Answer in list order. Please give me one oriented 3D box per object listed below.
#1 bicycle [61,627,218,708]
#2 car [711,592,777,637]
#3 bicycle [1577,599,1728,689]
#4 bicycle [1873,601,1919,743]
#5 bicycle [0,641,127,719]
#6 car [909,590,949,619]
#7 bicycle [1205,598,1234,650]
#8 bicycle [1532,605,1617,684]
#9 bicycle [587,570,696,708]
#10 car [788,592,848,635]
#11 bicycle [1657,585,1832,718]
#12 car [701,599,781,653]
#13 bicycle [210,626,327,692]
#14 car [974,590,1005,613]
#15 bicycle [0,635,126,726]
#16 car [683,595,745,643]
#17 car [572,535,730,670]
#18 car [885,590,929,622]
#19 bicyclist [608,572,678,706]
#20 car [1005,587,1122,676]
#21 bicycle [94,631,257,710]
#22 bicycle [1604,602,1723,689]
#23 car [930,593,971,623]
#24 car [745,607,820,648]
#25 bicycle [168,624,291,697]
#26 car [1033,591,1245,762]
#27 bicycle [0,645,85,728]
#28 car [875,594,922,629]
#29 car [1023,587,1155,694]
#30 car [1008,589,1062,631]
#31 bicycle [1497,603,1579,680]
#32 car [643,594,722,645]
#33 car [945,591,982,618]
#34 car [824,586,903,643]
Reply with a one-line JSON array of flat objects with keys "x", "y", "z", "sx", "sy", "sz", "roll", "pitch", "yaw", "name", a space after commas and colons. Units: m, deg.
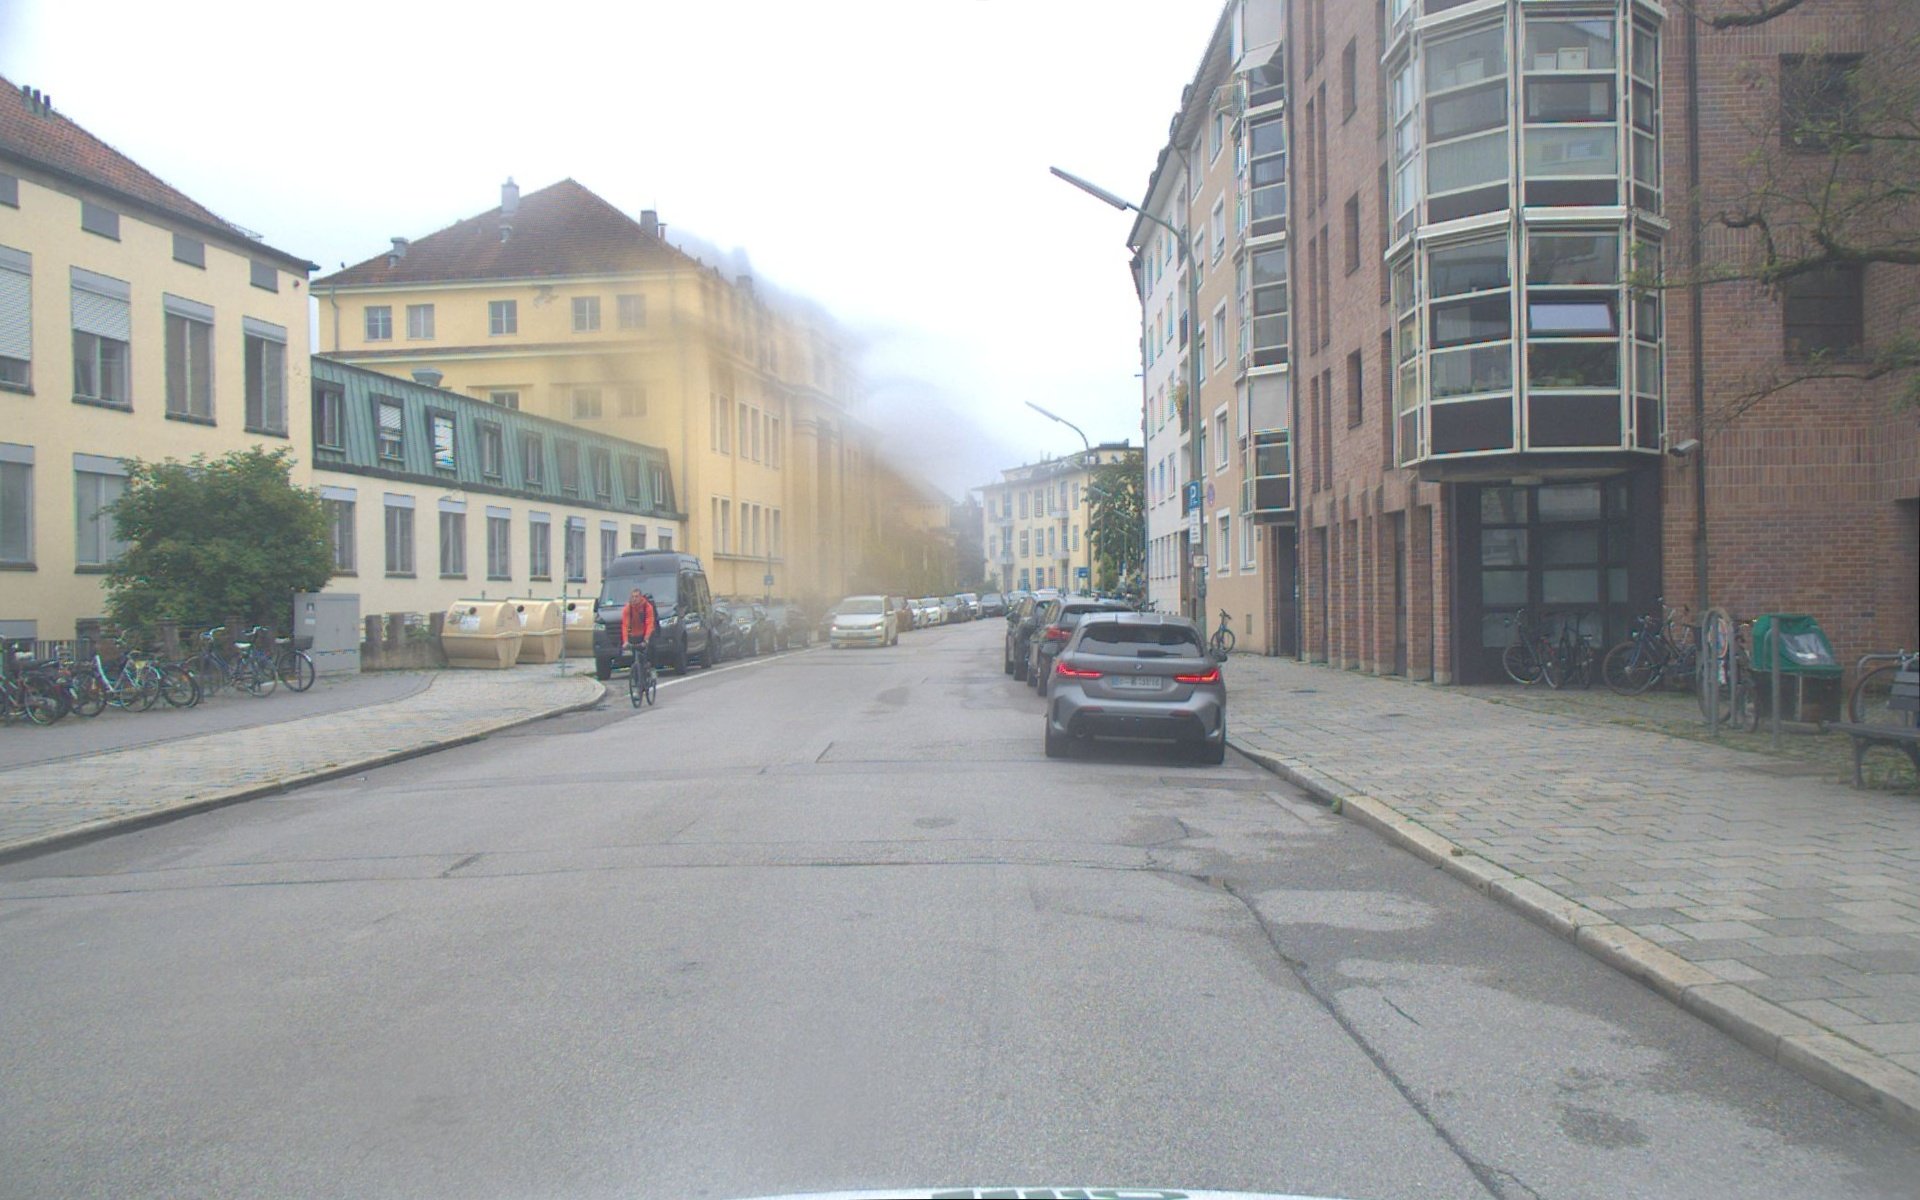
[{"x": -12.504, "y": 1.015, "z": 25.213, "sx": 2.261, "sy": 1.155, "sz": 0.582, "roll": 1, "pitch": 1, "yaw": 12, "name": "bicycle"}, {"x": -8.604, "y": 0.569, "z": 66.092, "sx": 1.683, "sy": 1.689, "sz": 3.751, "roll": 1, "pitch": 1, "yaw": 8, "name": "car"}, {"x": 9.324, "y": 0.583, "z": 22.308, "sx": 1.809, "sy": 1.167, "sz": 0.488, "roll": 1, "pitch": 0, "yaw": 8, "name": "bicycle"}, {"x": 8.484, "y": 0.606, "z": 14.539, "sx": 1.351, "sy": 1.194, "sz": 0.414, "roll": 0, "pitch": 1, "yaw": -44, "name": "bicycle"}, {"x": -12.968, "y": 1.141, "z": 23.794, "sx": 1.827, "sy": 1.047, "sz": 0.540, "roll": 1, "pitch": 1, "yaw": 12, "name": "bicycle"}, {"x": -1.613, "y": 0.240, "z": 87.413, "sx": 1.661, "sy": 1.469, "sz": 3.511, "roll": 1, "pitch": 1, "yaw": 6, "name": "car"}, {"x": 6.800, "y": 0.610, "z": 43.465, "sx": 0.458, "sy": 1.310, "sz": 2.676, "roll": 1, "pitch": 1, "yaw": 3, "name": "bicycle"}, {"x": 8.908, "y": 0.622, "z": 24.047, "sx": 0.476, "sy": 1.078, "sz": 1.995, "roll": 1, "pitch": 0, "yaw": 0, "name": "bicycle"}, {"x": -5.053, "y": 0.576, "z": 26.494, "sx": 0.732, "sy": 2.048, "sz": 2.850, "roll": -3, "pitch": 0, "yaw": 8, "name": "bicycle"}, {"x": -5.499, "y": 0.519, "z": 64.499, "sx": 1.735, "sy": 1.577, "sz": 3.780, "roll": 1, "pitch": 1, "yaw": 5, "name": "car"}, {"x": 7.990, "y": 0.517, "z": 16.970, "sx": 0.523, "sy": 1.270, "sz": 2.411, "roll": 1, "pitch": -1, "yaw": -3, "name": "bicycle"}, {"x": -6.523, "y": 0.755, "z": 49.577, "sx": 1.663, "sy": 1.478, "sz": 3.743, "roll": 1, "pitch": 1, "yaw": 4, "name": "car"}, {"x": -12.335, "y": 1.046, "z": 29.515, "sx": 1.864, "sy": 1.111, "sz": 0.678, "roll": 1, "pitch": 1, "yaw": 12, "name": "bicycle"}, {"x": 2.089, "y": 0.076, "z": 115.946, "sx": 1.951, "sy": 1.576, "sz": 4.003, "roll": 1, "pitch": 1, "yaw": 5, "name": "car"}, {"x": -12.916, "y": 1.124, "z": 23.136, "sx": 2.499, "sy": 1.227, "sz": 0.425, "roll": -1, "pitch": 0, "yaw": 12, "name": "bicycle"}, {"x": -9.213, "y": 0.690, "z": 62.198, "sx": 1.571, "sy": 1.689, "sz": 2.811, "roll": 1, "pitch": 1, "yaw": 8, "name": "car"}, {"x": -6.965, "y": 0.099, "z": 38.022, "sx": 2.372, "sy": 2.762, "sz": 5.953, "roll": -2, "pitch": -1, "yaw": 1, "name": "car"}, {"x": -2.534, "y": 0.261, "z": 79.960, "sx": 1.661, "sy": 1.469, "sz": 3.511, "roll": 1, "pitch": 1, "yaw": 6, "name": "car"}, {"x": -5.061, "y": 0.611, "z": 26.423, "sx": 0.750, "sy": 2.048, "sz": 0.768, "roll": -4, "pitch": 0, "yaw": 7, "name": "bicyclist"}, {"x": 1.998, "y": 0.570, "z": 33.254, "sx": 1.924, "sy": 1.630, "sz": 4.670, "roll": 1, "pitch": 1, "yaw": -2, "name": "car"}, {"x": -12.341, "y": 1.101, "z": 26.024, "sx": 2.433, "sy": 1.161, "sz": 0.637, "roll": 1, "pitch": 1, "yaw": 12, "name": "bicycle"}, {"x": 9.668, "y": 0.616, "z": 22.758, "sx": 1.445, "sy": 1.167, "sz": 0.383, "roll": 1, "pitch": 0, "yaw": 8, "name": "bicycle"}, {"x": -0.502, "y": 0.416, "z": 93.032, "sx": 1.951, "sy": 1.576, "sz": 4.003, "roll": 1, "pitch": 1, "yaw": 5, "name": "car"}, {"x": -5.794, "y": 0.867, "z": 54.325, "sx": 1.495, "sy": 1.223, "sz": 3.744, "roll": 1, "pitch": 1, "yaw": 10, "name": "car"}, {"x": -12.282, "y": 1.006, "z": 27.829, "sx": 1.915, "sy": 1.151, "sz": 0.573, "roll": 1, "pitch": 1, "yaw": 12, "name": "bicycle"}, {"x": 1.741, "y": 0.707, "z": 17.356, "sx": 1.885, "sy": 1.539, "sz": 4.393, "roll": 1, "pitch": 0, "yaw": 2, "name": "car"}, {"x": -12.814, "y": 1.161, "z": 22.442, "sx": 1.752, "sy": 1.051, "sz": 0.508, "roll": 1, "pitch": 1, "yaw": 12, "name": "bicycle"}, {"x": -2.753, "y": 0.497, "z": 74.373, "sx": 1.662, "sy": 1.469, "sz": 3.511, "roll": 1, "pitch": 1, "yaw": 5, "name": "car"}, {"x": 2.098, "y": 0.614, "z": 27.987, "sx": 1.793, "sy": 1.630, "sz": 4.265, "roll": 1, "pitch": 1, "yaw": -2, "name": "car"}, {"x": 2.662, "y": 0.360, "z": 59.457, "sx": 1.848, "sy": 1.434, "sz": 4.431, "roll": 1, "pitch": 0, "yaw": 1, "name": "car"}, {"x": 8.374, "y": 0.590, "z": 24.032, "sx": 0.476, "sy": 1.078, "sz": 1.995, "roll": 1, "pitch": -1, "yaw": 0, "name": "bicycle"}, {"x": -9.787, "y": 0.652, "z": 58.585, "sx": 1.683, "sy": 1.689, "sz": 3.751, "roll": 1, "pitch": 1, "yaw": 8, "name": "car"}, {"x": 0.261, "y": 0.257, "z": 102.587, "sx": 1.951, "sy": 1.576, "sz": 4.003, "roll": 1, "pitch": 1, "yaw": 5, "name": "car"}, {"x": -3.069, "y": 0.515, "z": 53.443, "sx": 1.983, "sy": 1.649, "sz": 4.506, "roll": -3, "pitch": -2, "yaw": 3, "name": "car"}]
